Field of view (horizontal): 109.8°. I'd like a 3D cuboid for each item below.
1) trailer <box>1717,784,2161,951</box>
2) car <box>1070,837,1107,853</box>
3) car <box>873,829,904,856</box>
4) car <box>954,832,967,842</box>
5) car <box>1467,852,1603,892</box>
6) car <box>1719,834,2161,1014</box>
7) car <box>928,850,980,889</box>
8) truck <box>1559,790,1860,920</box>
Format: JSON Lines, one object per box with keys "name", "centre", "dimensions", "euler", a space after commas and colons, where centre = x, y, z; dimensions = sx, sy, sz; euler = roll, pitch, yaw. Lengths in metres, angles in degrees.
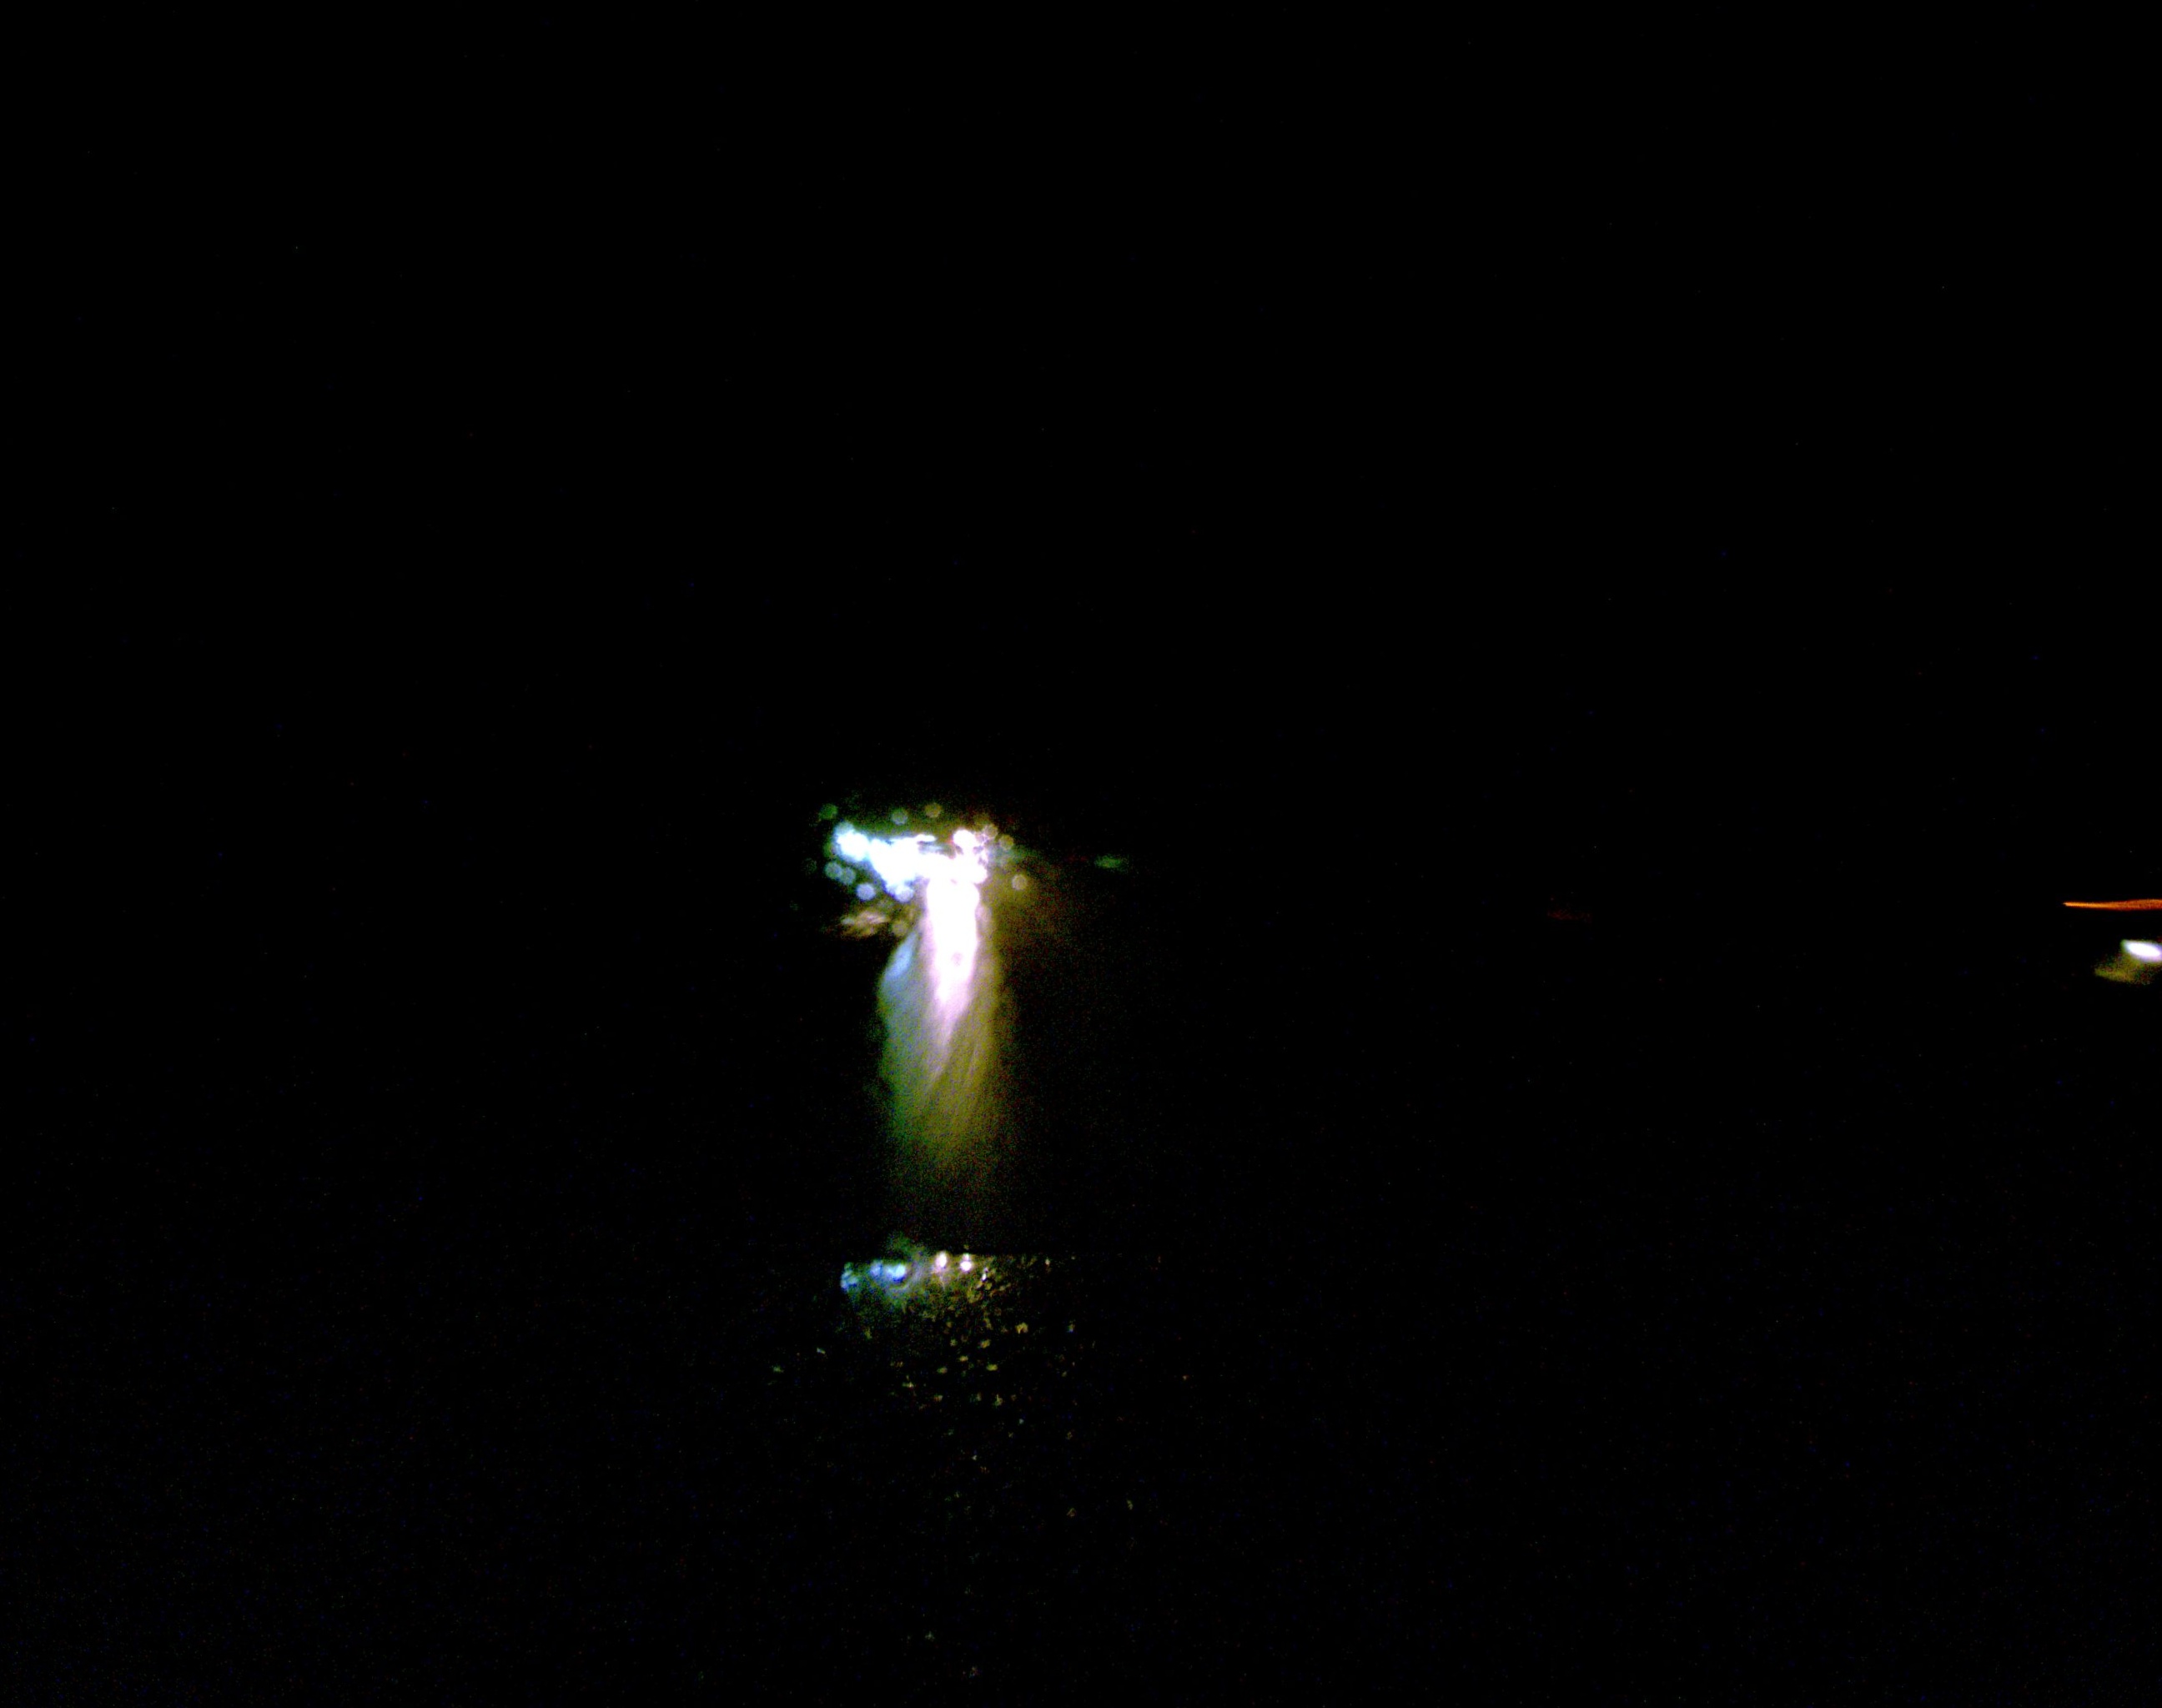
{"name": "trailer", "centre": [25.589, 0.231, 19.855], "dimensions": [3.456, 3.856, 13.329], "euler": [-1, 2, -28]}
{"name": "car", "centre": [0.741, -0.936, 77.173], "dimensions": [1.793, 1.466, 3.881], "euler": [0, 3, -33]}
{"name": "car", "centre": [-15.992, -0.942, 63.003], "dimensions": [2.001, 2.002, 3.994], "euler": [-4, 1, -19]}
{"name": "car", "centre": [-25.633, -3.602, 161.544], "dimensions": [2.002, 2.003, 4.799], "euler": [0, 3, -20]}
{"name": "car", "centre": [16.489, 0.602, 27.811], "dimensions": [1.646, 1.272, 4.006], "euler": [0, 1, -27]}
{"name": "car", "centre": [12.398, 0.763, 11.009], "dimensions": [1.758, 2.093, 4.452], "euler": [-1, 2, -28]}
{"name": "car", "centre": [-6.225, 0.708, 36.927], "dimensions": [1.895, 1.603, 3.992], "euler": [1, 3, -18]}
{"name": "truck", "centre": [21.875, -0.051, 27.071], "dimensions": [3.414, 3.951, 7.440], "euler": [0, 1, -27]}
